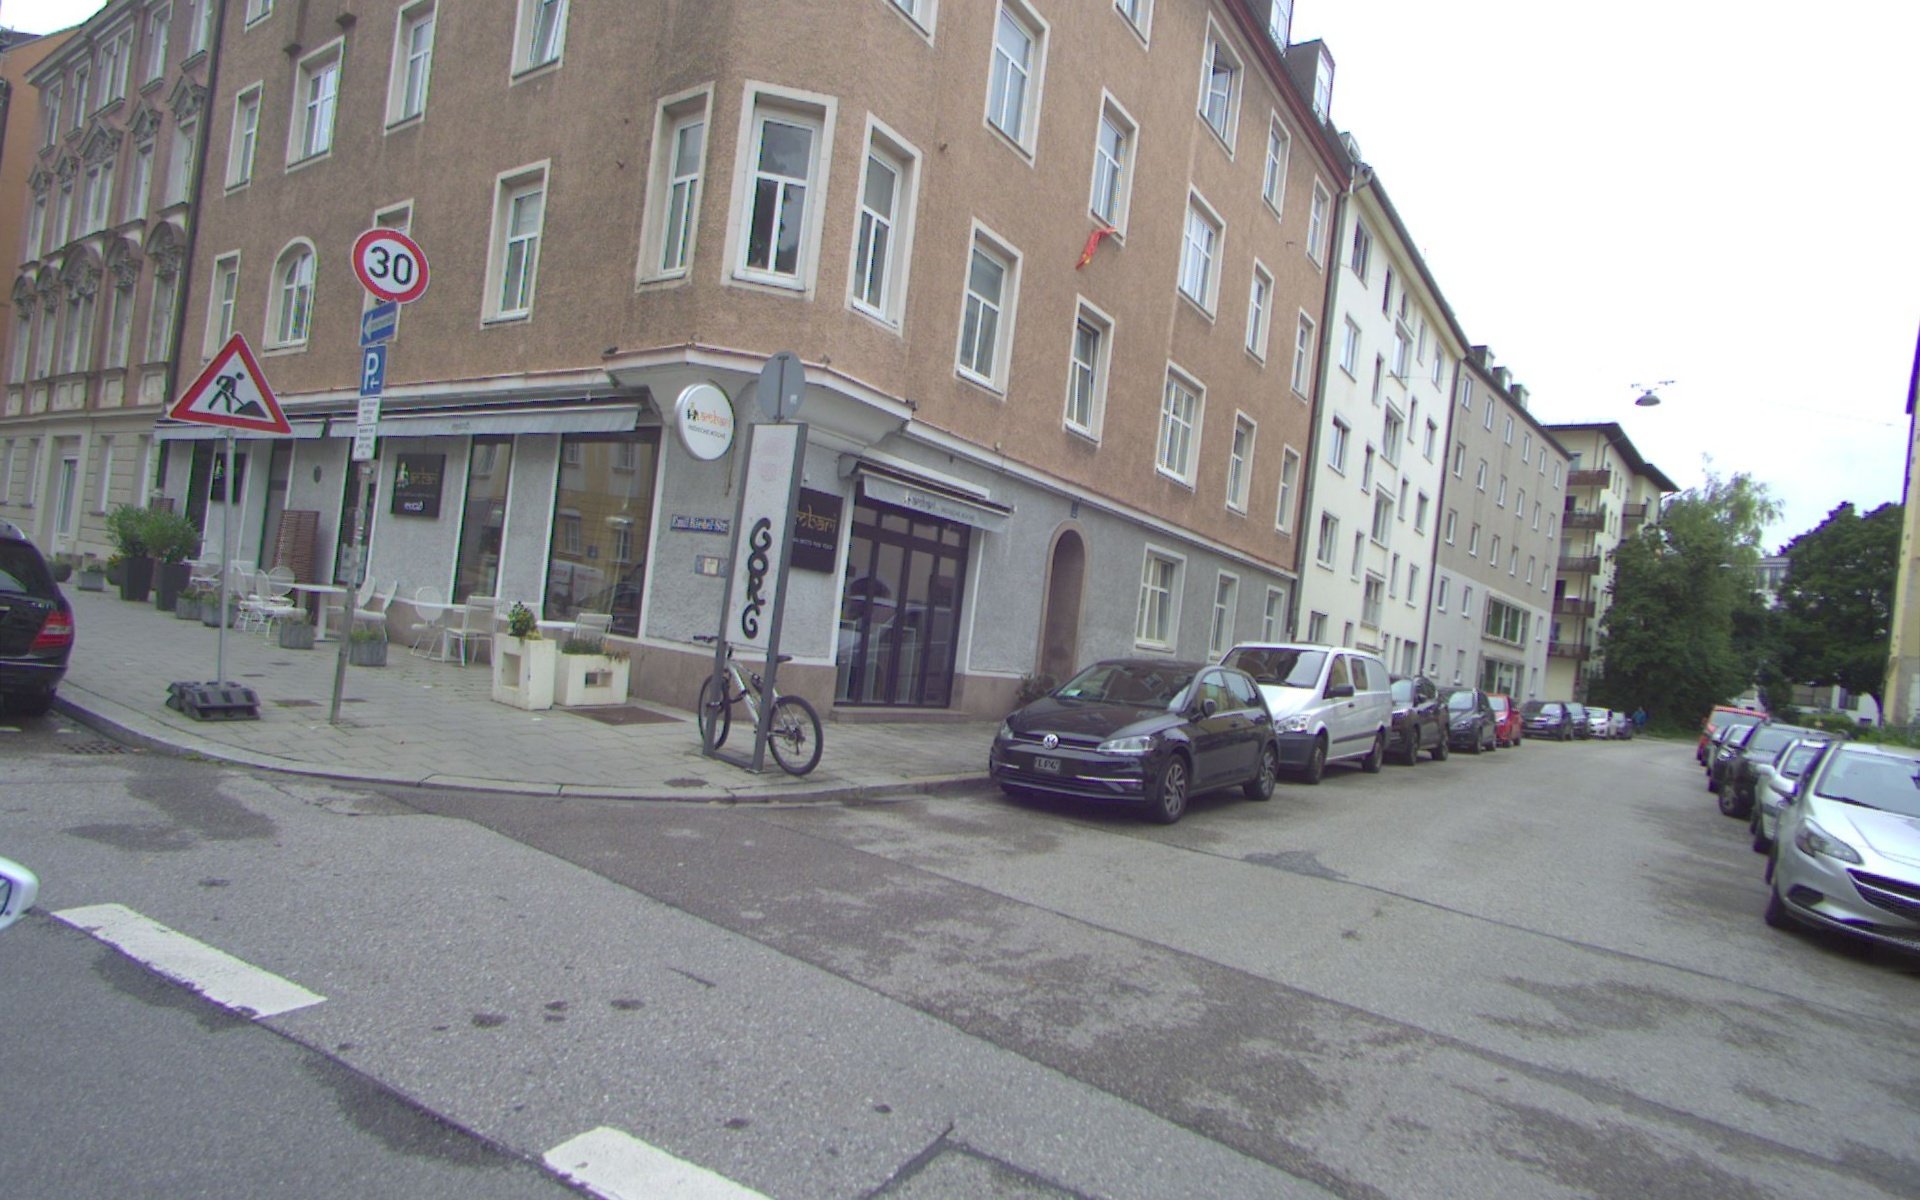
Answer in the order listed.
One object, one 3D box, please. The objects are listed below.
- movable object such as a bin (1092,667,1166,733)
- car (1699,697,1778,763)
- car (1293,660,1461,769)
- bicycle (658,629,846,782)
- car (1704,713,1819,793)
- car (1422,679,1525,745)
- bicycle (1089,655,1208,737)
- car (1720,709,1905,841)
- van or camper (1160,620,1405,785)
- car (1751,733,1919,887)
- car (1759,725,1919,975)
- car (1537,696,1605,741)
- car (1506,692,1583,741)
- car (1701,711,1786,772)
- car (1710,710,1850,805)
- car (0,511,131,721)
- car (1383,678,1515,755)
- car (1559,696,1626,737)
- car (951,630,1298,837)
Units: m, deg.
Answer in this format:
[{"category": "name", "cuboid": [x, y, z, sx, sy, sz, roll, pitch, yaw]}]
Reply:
[{"category": "movable object such as a bin", "cuboid": [2.878, 1.682, 17.081, 0.952, 0.962, 0.734, 7, 0, 28]}, {"category": "car", "cuboid": [28.643, 4.772, 36.989, 2.036, 2.001, 4.416, 6, -2, 39]}, {"category": "car", "cuboid": [8.137, 2.173, 19.437, 1.949, 1.663, 3.984, 6, -1, 37]}, {"category": "bicycle", "cuboid": [-1.856, 0.879, 8.809, 1.775, 1.018, 0.495, 8, 2, 38]}, {"category": "car", "cuboid": [20.446, 3.850, 25.825, 1.948, 1.586, 4.420, 6, -2, 36]}, {"category": "car", "cuboid": [15.493, 3.337, 30.204, 1.948, 1.587, 4.655, 6, -1, 36]}, {"category": "bicycle", "cuboid": [3.285, 1.654, 17.547, 1.893, 1.157, 0.475, 6, 0, 19]}, {"category": "car", "cuboid": [13.707, 2.737, 16.413, 1.955, 1.602, 4.016, 6, -2, 38]}, {"category": "van or camper", "cuboid": [5.011, 1.520, 15.077, 1.932, 1.941, 4.901, 4, -3, 36]}, {"category": "car", "cuboid": [10.803, 2.456, 12.341, 1.615, 1.353, 3.442, 5, -1, 39]}, {"category": "car", "cuboid": [7.524, 1.886, 7.926, 1.725, 1.458, 3.732, 10, 1, 39]}, {"category": "car", "cuboid": [26.788, 5.161, 44.047, 1.949, 1.587, 4.415, 6, -1, 38]}, {"category": "car", "cuboid": [23.371, 4.612, 40.123, 1.949, 1.587, 4.653, 6, -1, 38]}, {"category": "car", "cuboid": [25.552, 4.587, 32.913, 1.949, 1.586, 4.418, 6, -2, 37]}, {"category": "car", "cuboid": [17.785, 3.353, 22.016, 1.948, 1.586, 4.420, 6, -2, 36]}, {"category": "car", "cuboid": [-8.574, -0.115, 7.960, 4.713, 1.421, 1.848, 6, -2, 35]}, {"category": "car", "cuboid": [12.448, 2.971, 25.454, 1.949, 1.520, 4.656, 6, -3, 38]}, {"category": "car", "cuboid": [30.108, 5.563, 47.835, 1.951, 1.586, 4.413, 6, -2, 41]}, {"category": "car", "cuboid": [1.856, 1.279, 10.269, 1.863, 1.505, 3.875, 6, -2, 36]}]
